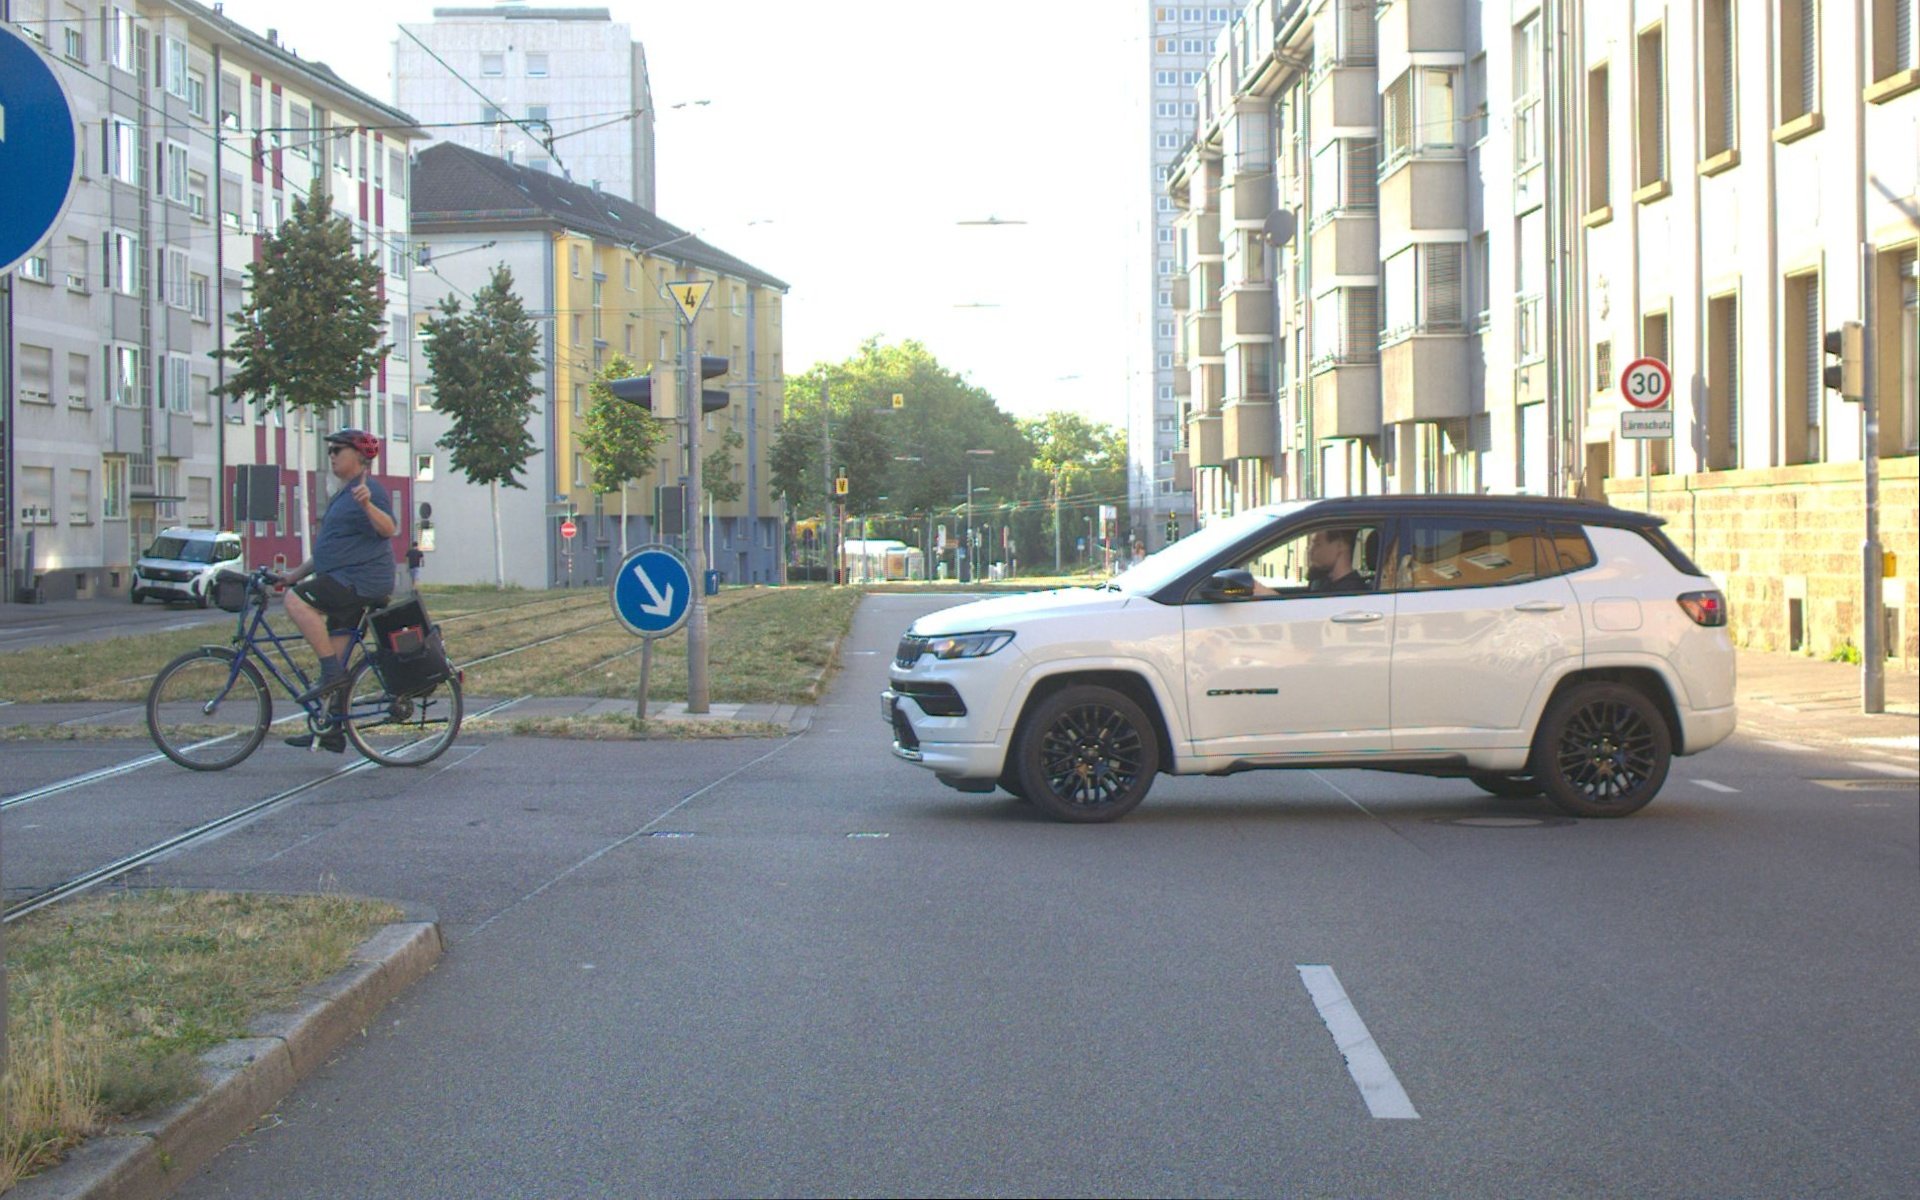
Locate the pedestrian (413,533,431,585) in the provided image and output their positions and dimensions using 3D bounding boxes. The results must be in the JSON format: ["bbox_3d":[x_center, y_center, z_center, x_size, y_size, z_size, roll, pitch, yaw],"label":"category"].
[{"bbox_3d":[-17.409,-1.331,111.321,0.495,1.652,0.408,-1,1,0],"label":"pedestrian"}]

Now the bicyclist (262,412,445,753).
[{"bbox_3d":[-3.601,-0.109,20.466,0.959,1.981,0.672,-1,1,-3],"label":"bicyclist"}]

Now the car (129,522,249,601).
[{"bbox_3d":[-18.228,-0.905,81.436,1.812,1.791,4.245,1,0,1],"label":"car"}]

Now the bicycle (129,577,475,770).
[{"bbox_3d":[-3.906,0.427,20.504,1.943,1.090,0.575,-1,1,-3],"label":"bicycle"}]

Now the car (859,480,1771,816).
[{"bbox_3d":[1.761,0.213,18.006,4.417,1.635,2.000,0,1,-6],"label":"car"}]

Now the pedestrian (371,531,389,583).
[{"bbox_3d":[-18.660,-1.395,110.641,0.495,1.652,0.408,-1,1,0],"label":"pedestrian"}]
